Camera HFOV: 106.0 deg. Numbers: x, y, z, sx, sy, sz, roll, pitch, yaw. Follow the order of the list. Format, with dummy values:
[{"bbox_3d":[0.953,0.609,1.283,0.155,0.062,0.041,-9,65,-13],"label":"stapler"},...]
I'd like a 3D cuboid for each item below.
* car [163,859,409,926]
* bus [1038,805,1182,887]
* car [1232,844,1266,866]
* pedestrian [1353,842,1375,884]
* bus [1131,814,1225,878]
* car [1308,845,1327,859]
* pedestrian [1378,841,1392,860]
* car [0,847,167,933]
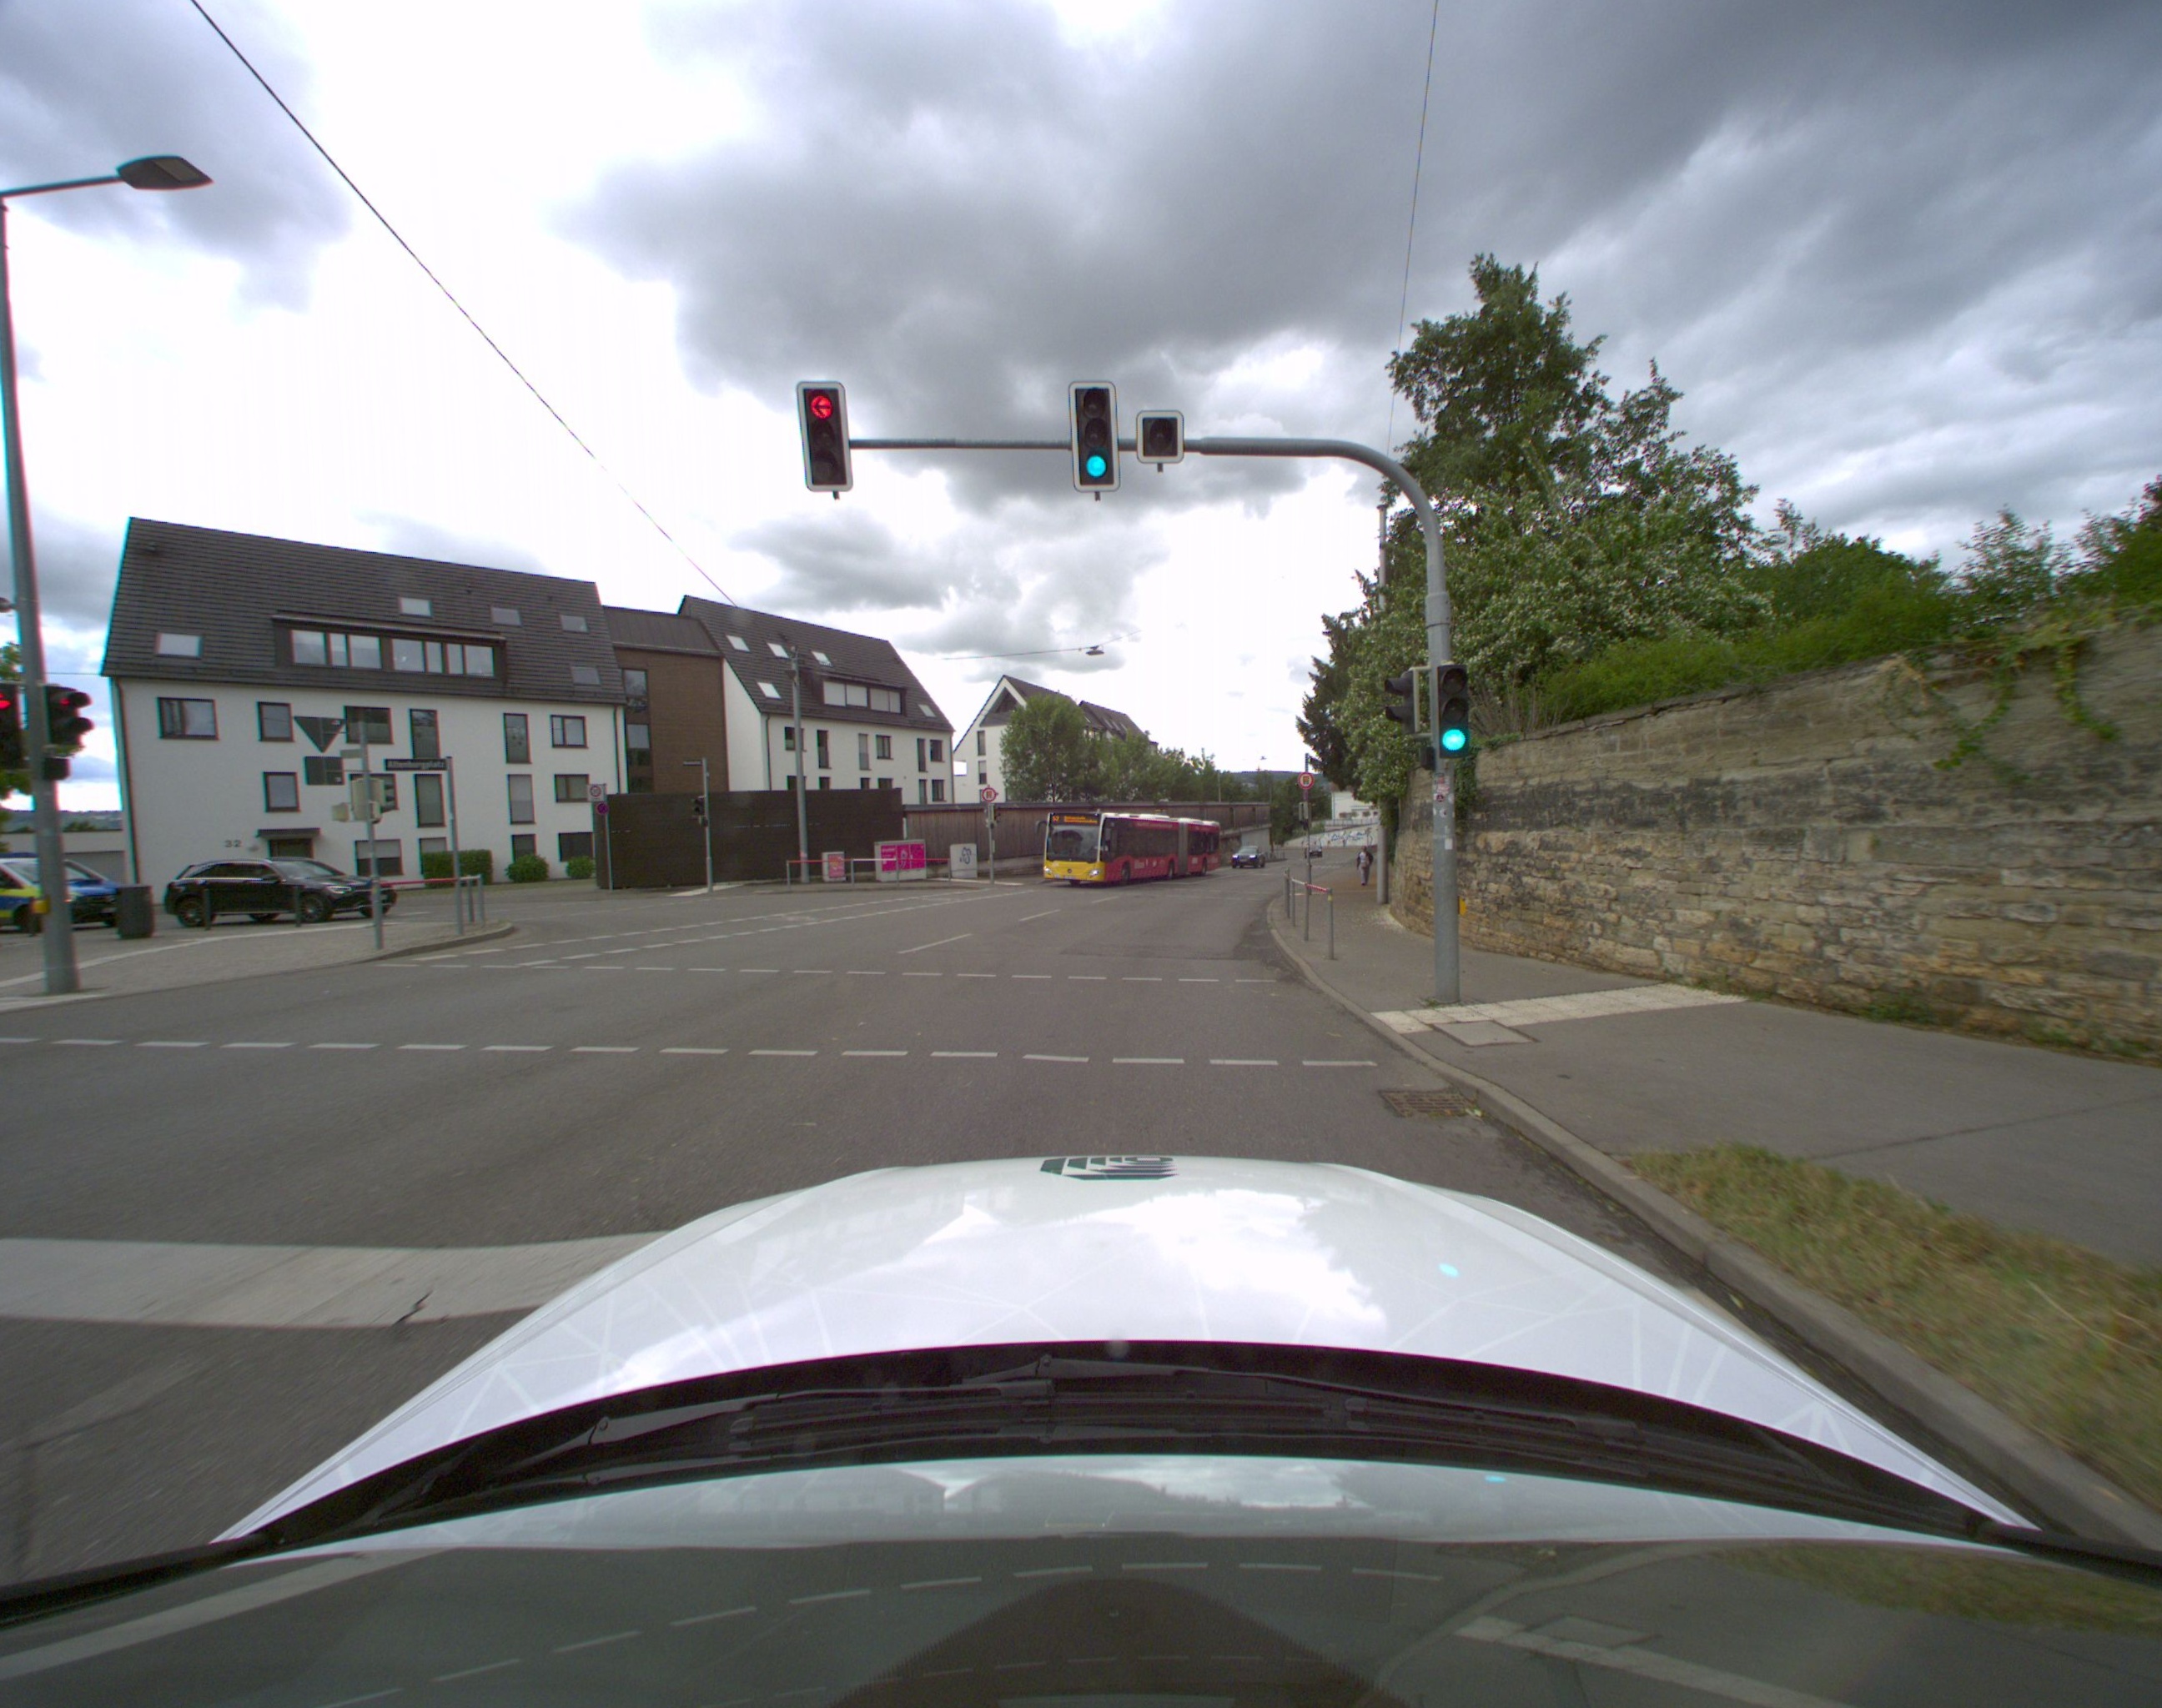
[{"bbox_3d":[-20.215,0.938,20.877,4.246,1.513,1.999,-1,0,-1],"label":"car"},{"bbox_3d":[1.633,-0.364,36.029,2.634,3.121,10.076,1,1,25],"label":"bus"},{"bbox_3d":[12.986,0.060,62.810,1.906,1.630,4.545,1,0,20],"label":"car"},{"bbox_3d":[11.045,0.356,31.782,0.725,1.576,0.747,-3,0,19],"label":"pedestrian"},{"bbox_3d":[5.481,-0.440,44.412,2.634,3.121,8.340,1,1,25],"label":"bus"},{"bbox_3d":[31.459,-0.259,108.226,1.878,1.756,4.460,-2,0,21],"label":"car"},{"bbox_3d":[27.067,-0.300,72.528,0.775,1.587,0.731,-3,0,-27],"label":"pedestrian"},{"bbox_3d":[-26.828,0.906,20.457,5.067,2.013,1.996,-1,0,-6],"label":"car"}]
